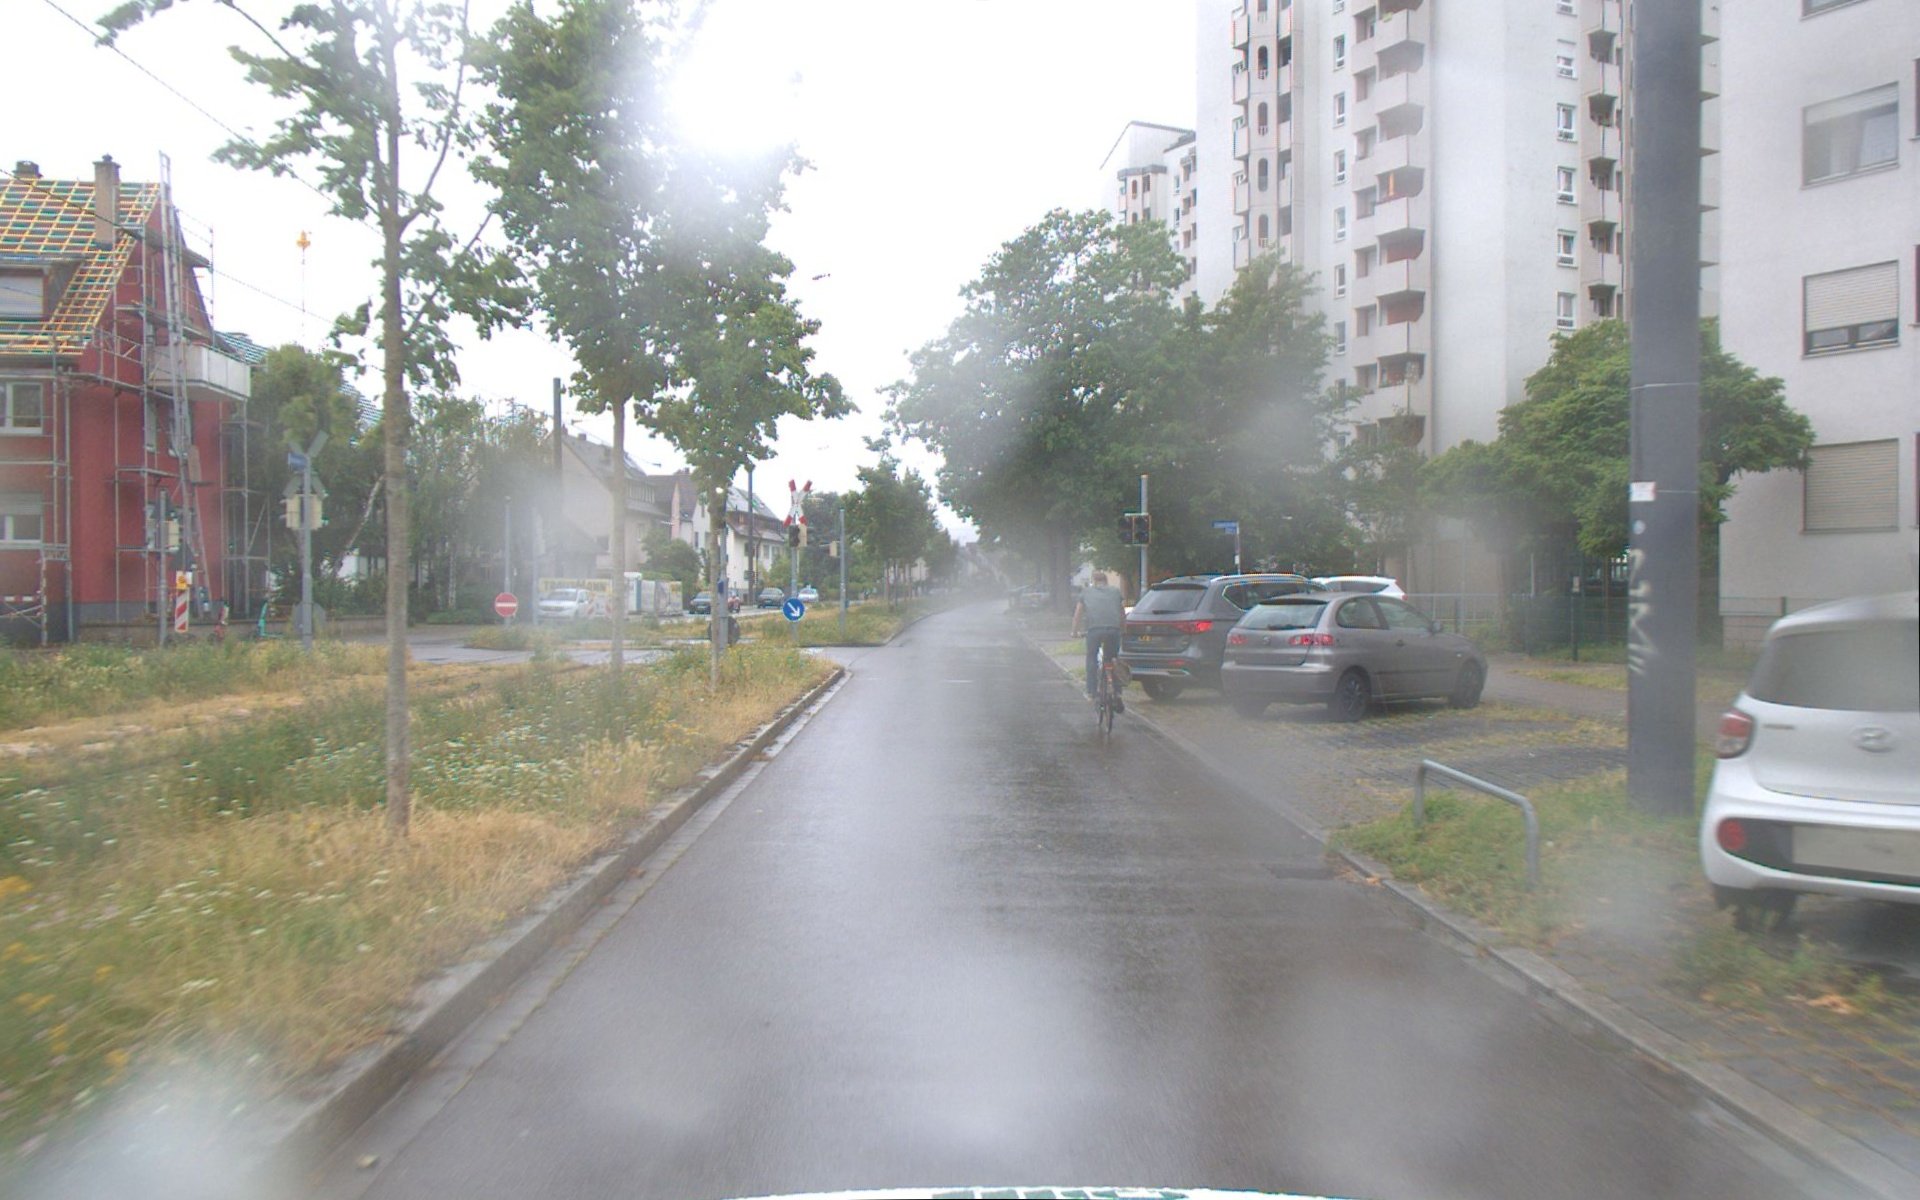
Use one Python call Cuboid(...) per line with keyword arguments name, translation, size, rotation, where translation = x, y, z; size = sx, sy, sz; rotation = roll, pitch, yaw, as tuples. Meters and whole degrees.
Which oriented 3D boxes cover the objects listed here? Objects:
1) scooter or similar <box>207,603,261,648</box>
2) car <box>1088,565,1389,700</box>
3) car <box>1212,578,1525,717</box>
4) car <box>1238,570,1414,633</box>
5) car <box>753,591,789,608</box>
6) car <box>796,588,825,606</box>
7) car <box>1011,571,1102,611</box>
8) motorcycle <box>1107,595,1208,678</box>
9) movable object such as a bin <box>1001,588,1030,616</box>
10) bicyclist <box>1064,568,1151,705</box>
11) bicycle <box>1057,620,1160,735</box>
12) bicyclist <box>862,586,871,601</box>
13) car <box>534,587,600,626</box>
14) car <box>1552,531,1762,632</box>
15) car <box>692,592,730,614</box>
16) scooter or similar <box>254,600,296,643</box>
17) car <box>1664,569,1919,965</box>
Cuboid(name="scooter or similar", translation=(-19.025, 0.660, 43.347), size=(0.432, 1.149, 1.280), rotation=(0, 0, 30))
Cuboid(name="car", translation=(3.919, 0.377, 22.862), size=(4.312, 1.680, 1.830), rotation=(-1, 1, -42))
Cuboid(name="car", translation=(4.956, 0.494, 19.795), size=(3.965, 1.454, 1.709), rotation=(-1, 1, -42))
Cuboid(name="car", translation=(10.817, 0.022, 48.915), size=(4.723, 1.776, 1.992), rotation=(0, 0, -15))
Cuboid(name="car", translation=(-14.585, -0.065, 127.662), size=(1.857, 1.266, 4.690), rotation=(2, 1, 4))
Cuboid(name="car", translation=(-13.505, -0.272, 150.017), size=(1.857, 1.495, 4.690), rotation=(2, 1, 4))
Cuboid(name="car", translation=(4.784, -0.469, 81.930), size=(4.094, 1.749, 1.979), rotation=(-4, 2, -31))
Cuboid(name="motorcycle", translation=(3.446, 0.621, 28.809), size=(1.761, 1.360, 0.680), rotation=(-2, 1, -37))
Cuboid(name="movable object such as a bin", translation=(3.171, 0.109, 95.167), size=(1.109, 1.482, 1.393), rotation=(-6, 2, -20))
Cuboid(name="bicyclist", translation=(1.611, 0.385, 18.207), size=(0.793, 1.458, 1.059), rotation=(-1, 0, -3))
Cuboid(name="bicycle", translation=(1.610, 0.817, 18.381), size=(0.793, 1.116, 2.516), rotation=(-1, 0, -2))
Cuboid(name="bicyclist", translation=(-10.855, -0.740, 192.064), size=(0.997, 1.715, 1.092), rotation=(-1, 0, 1))
Cuboid(name="car", translation=(-17.148, 0.251, 72.347), size=(1.675, 1.569, 4.423), rotation=(2, 1, 2))
Cuboid(name="car", translation=(21.553, -0.576, 51.198), size=(5.955, 3.015, 2.122), rotation=(0, 0, -15))
Cuboid(name="car", translation=(-15.303, 0.171, 101.756), size=(1.629, 1.266, 4.072), rotation=(2, 1, 1))
Cuboid(name="scooter or similar", translation=(-19.229, 0.594, 46.448), size=(0.385, 1.201, 1.284), rotation=(0, 0, 15))
Cuboid(name="car", translation=(5.129, 0.618, 7.800), size=(3.962, 1.534, 1.681), rotation=(-1, -1, -40))
